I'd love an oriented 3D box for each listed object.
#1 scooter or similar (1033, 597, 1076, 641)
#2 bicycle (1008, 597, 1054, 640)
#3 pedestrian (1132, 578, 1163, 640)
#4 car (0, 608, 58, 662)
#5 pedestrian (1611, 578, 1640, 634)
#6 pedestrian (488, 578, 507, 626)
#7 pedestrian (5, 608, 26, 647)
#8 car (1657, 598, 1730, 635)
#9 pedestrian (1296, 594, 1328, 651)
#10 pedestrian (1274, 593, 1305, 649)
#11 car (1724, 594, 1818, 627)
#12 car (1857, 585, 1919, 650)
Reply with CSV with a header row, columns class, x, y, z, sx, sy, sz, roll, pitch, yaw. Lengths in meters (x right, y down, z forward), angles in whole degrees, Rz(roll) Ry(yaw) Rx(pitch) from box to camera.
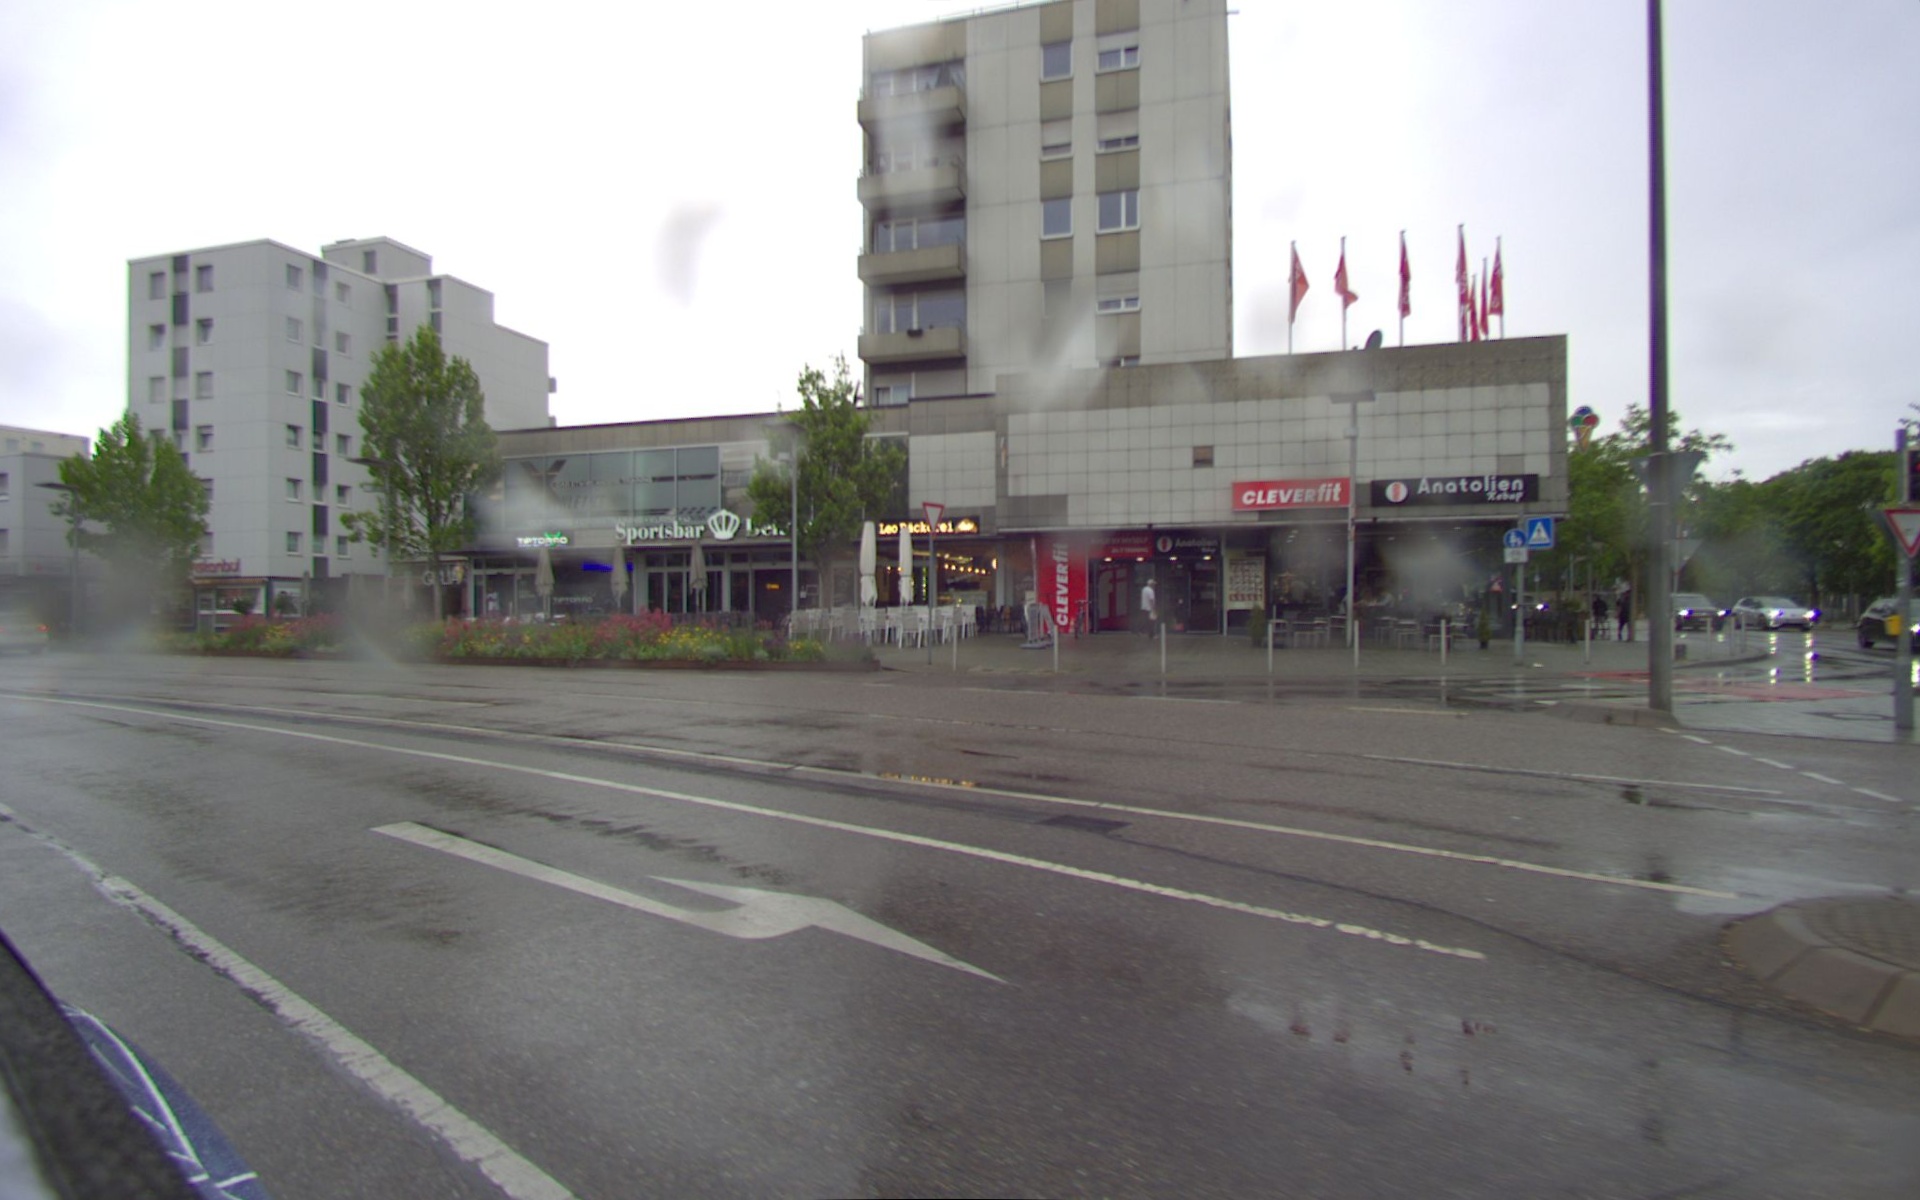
class,x,y,z,sx,sy,sz,roll,pitch,yaw
scooter or similar,2.712,0.524,28.763,0.638,1.183,2.577,-1,0,18
bicycle,2.106,0.523,29.854,0.691,1.232,2.537,-1,0,19
pedestrian,5.208,0.252,28.095,0.711,1.706,0.652,-1,0,23
car,-32.382,1.153,33.638,4.476,1.695,1.877,-1,0,23
pedestrian,23.109,0.223,35.139,0.806,1.908,0.711,-1,-1,34
pedestrian,-18.281,0.087,40.005,0.499,1.862,0.423,-1,-1,27
pedestrian,-41.053,1.209,43.986,0.476,1.672,0.532,-1,0,23
car,33.444,0.736,46.240,1.704,1.607,3.972,-1,0,21
pedestrian,8.506,0.536,24.437,0.489,1.358,0.538,0,-1,-38
pedestrian,8.121,0.509,24.931,0.489,1.358,0.538,0,1,-40
car,36.788,0.463,46.024,1.755,1.431,4.041,0,-1,13
car,26.641,0.438,27.708,1.857,1.607,3.971,0,2,22
